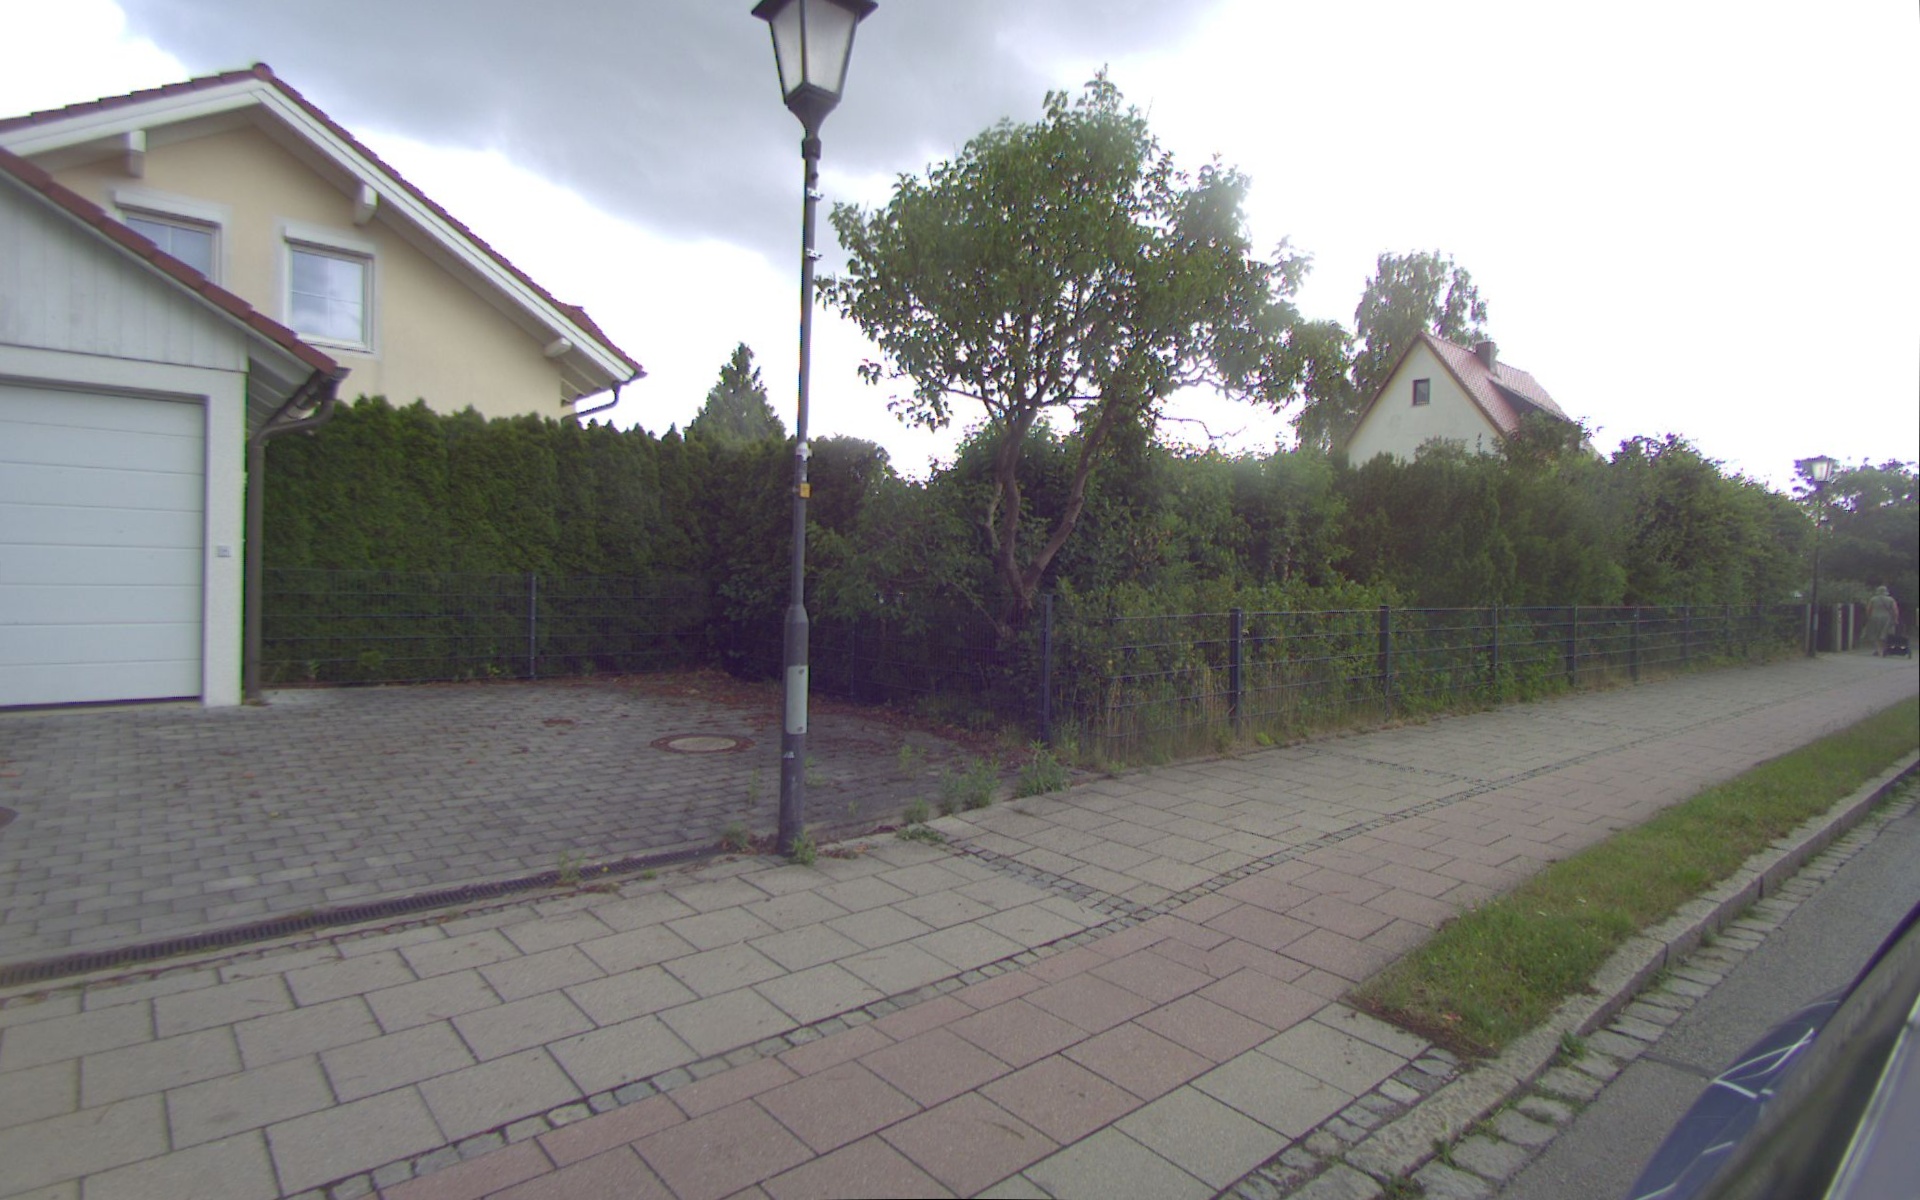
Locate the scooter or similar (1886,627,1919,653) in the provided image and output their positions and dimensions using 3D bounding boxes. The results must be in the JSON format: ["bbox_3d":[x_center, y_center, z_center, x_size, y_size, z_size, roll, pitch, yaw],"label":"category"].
[{"bbox_3d":[21.322,0.896,22.737,0.613,0.563,0.734,1,0,31],"label":"scooter or similar"}]

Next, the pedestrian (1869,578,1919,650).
[{"bbox_3d":[21.619,0.308,23.357,0.787,1.622,0.664,2,1,31],"label":"pedestrian"}]
